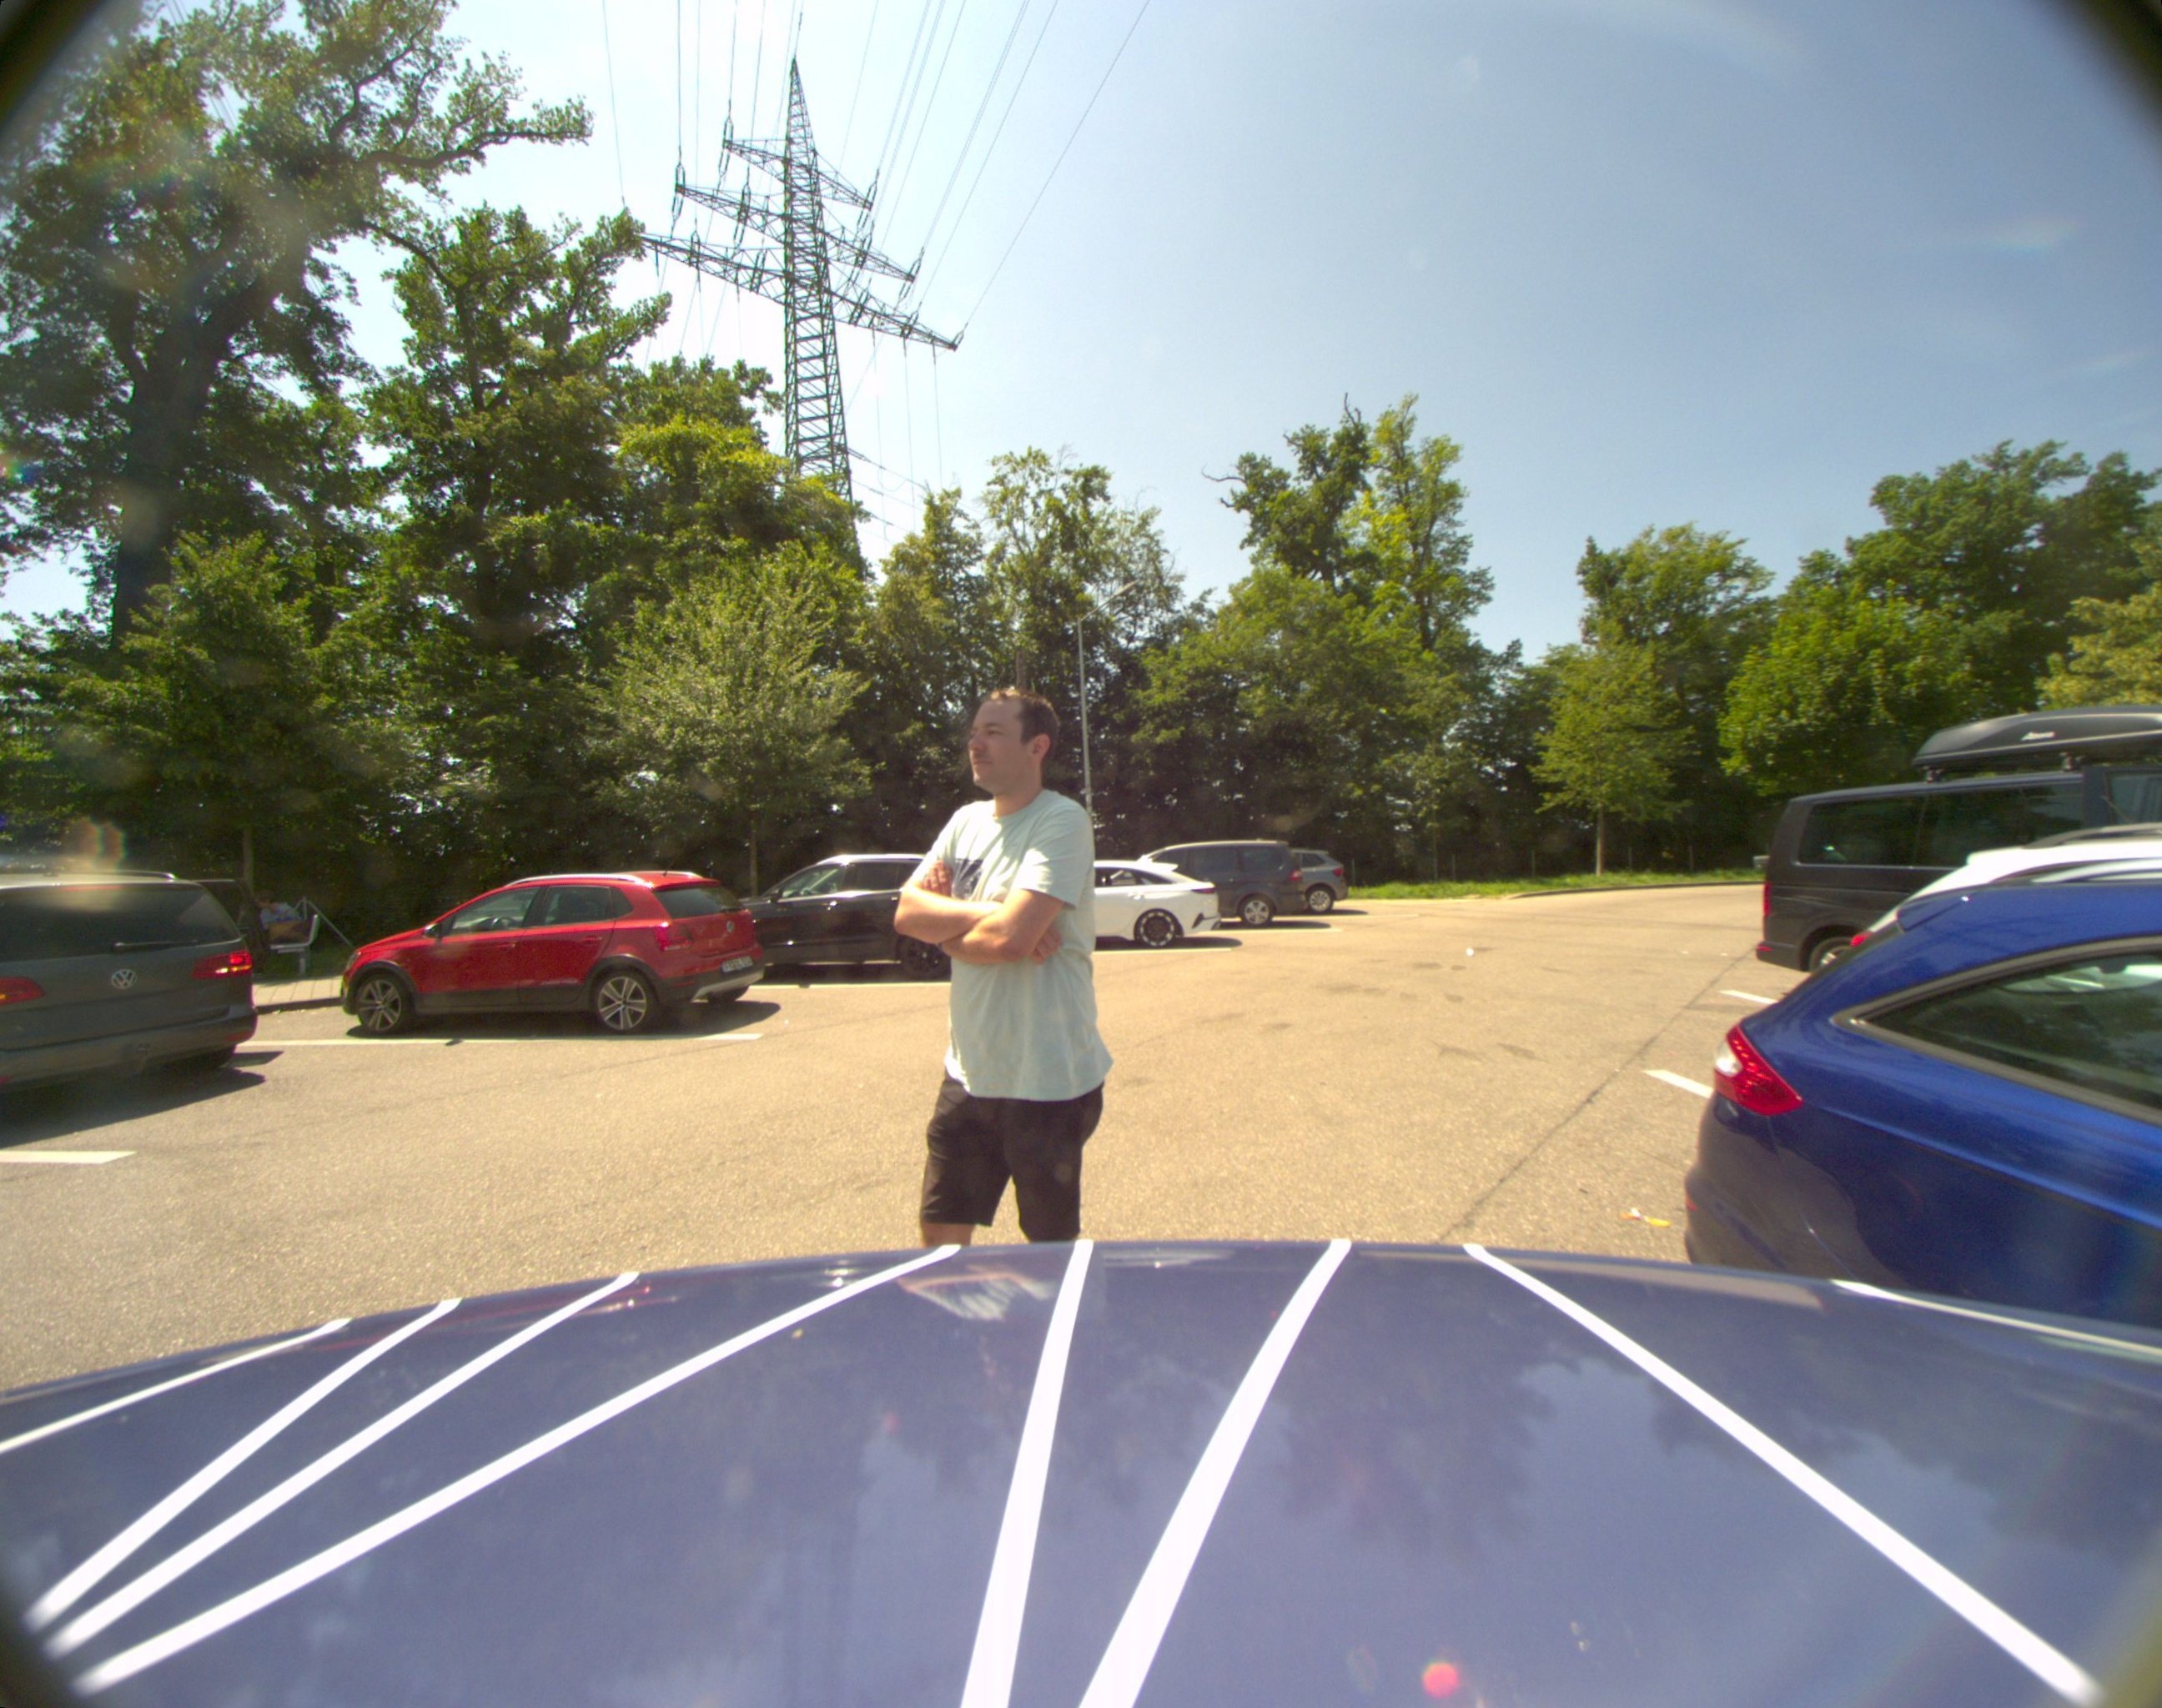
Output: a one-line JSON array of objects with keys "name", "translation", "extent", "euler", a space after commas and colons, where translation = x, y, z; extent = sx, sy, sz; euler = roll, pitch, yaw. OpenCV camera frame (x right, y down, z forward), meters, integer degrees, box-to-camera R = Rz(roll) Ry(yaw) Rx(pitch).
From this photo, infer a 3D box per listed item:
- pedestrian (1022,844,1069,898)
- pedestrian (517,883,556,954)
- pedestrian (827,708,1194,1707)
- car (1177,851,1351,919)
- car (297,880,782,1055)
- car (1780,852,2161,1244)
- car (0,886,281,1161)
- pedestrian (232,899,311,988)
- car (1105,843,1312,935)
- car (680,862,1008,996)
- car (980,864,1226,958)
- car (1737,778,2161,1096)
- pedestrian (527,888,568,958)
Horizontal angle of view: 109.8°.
[{"name": "pedestrian", "translation": [-0.873, 0.413, 18.728], "extent": [0.890, 1.292, 0.865], "euler": [-2, 0, 15]}, {"name": "pedestrian", "translation": [-10.967, 1.281, 15.312], "extent": [0.490, 1.367, 0.506], "euler": [-2, 0, 41]}, {"name": "pedestrian", "translation": [-0.218, 0.668, 1.787], "extent": [0.634, 1.857, 0.747], "euler": [-2, 0, -17]}, {"name": "car", "translation": [4.244, 0.711, 18.109], "extent": [3.805, 1.468, 1.743], "euler": [-1, 1, 5]}, {"name": "car", "translation": [-5.254, 1.065, 7.636], "extent": [3.804, 1.449, 1.637], "euler": [-1, 1, 7]}, {"name": "car", "translation": [4.768, 0.703, 2.402], "extent": [1.607, 1.405, 3.743], "euler": [-2, -1, -1]}, {"name": "car", "translation": [-8.354, 1.094, 5.420], "extent": [3.950, 1.581, 1.753], "euler": [-1, 1, 11]}, {"name": "pedestrian", "translation": [-11.784, 1.284, 11.066], "extent": [0.680, 1.211, 0.675], "euler": [-4, -2, 36]}, {"name": "car", "translation": [2.496, 0.683, 15.465], "extent": [3.882, 1.680, 1.882], "euler": [-1, 0, 5]}, {"name": "car", "translation": [-3.020, 0.940, 10.264], "extent": [3.806, 1.538, 1.759], "euler": [-1, 1, 2]}, {"name": "car", "translation": [0.394, 0.910, 12.714], "extent": [3.805, 1.359, 1.803], "euler": [-1, 1, 5]}, {"name": "car", "translation": [7.295, 0.458, 4.999], "extent": [2.048, 1.850, 4.430], "euler": [-2, -1, -1]}, {"name": "pedestrian", "translation": [-10.182, 1.298, 14.506], "extent": [0.490, 1.291, 0.506], "euler": [-2, 0, 41]}]
